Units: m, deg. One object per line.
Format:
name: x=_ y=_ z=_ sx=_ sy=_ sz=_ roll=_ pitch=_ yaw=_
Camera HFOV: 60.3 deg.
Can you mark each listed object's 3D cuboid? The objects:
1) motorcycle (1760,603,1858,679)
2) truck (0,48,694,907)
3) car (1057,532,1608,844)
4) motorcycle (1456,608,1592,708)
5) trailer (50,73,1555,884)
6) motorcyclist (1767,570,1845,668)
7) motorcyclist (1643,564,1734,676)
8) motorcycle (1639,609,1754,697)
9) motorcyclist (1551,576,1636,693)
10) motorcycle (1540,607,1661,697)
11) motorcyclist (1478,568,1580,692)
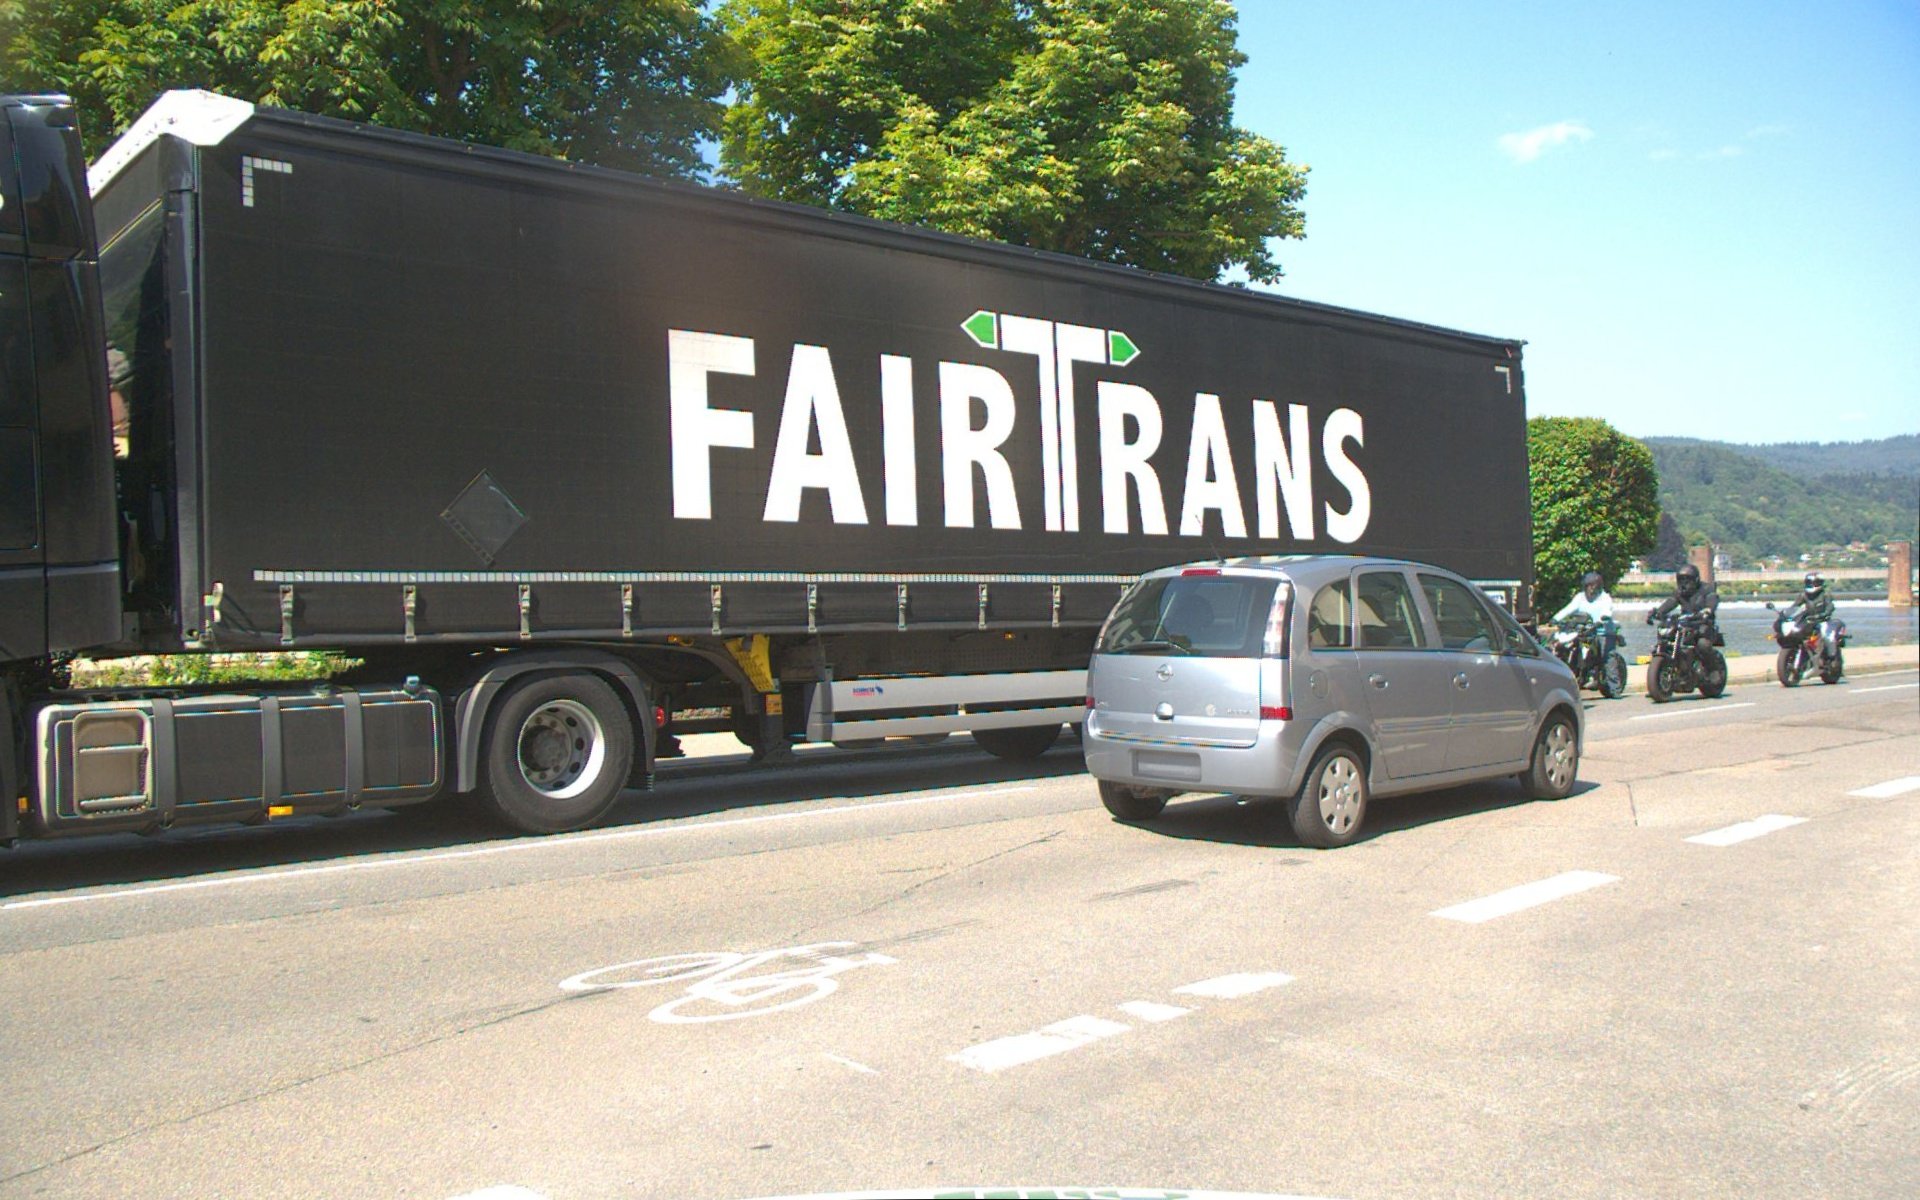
motorcycle: x=12.403 y=0.586 z=24.144 sx=1.799 sy=1.042 sz=0.649 roll=-1 pitch=-1 yaw=-42
truck: x=-4.848 y=-0.561 z=9.610 sx=5.880 sy=4.143 sz=2.797 roll=-1 pitch=-2 yaw=-41
car: x=2.491 y=0.438 z=10.575 sx=3.709 sy=1.639 sz=1.666 roll=-1 pitch=1 yaw=-43
motorcycle: x=6.981 y=0.703 z=20.411 sx=2.075 sy=1.143 sz=0.625 roll=-1 pitch=-2 yaw=-42
trailer: x=0.205 y=-0.677 z=14.080 sx=13.650 sy=4.176 sz=2.800 roll=-1 pitch=-2 yaw=-41
motorcyclist: x=12.308 y=0.270 z=24.070 sx=0.928 sy=1.390 sz=0.709 roll=-1 pitch=-1 yaw=-41
motorcyclist: x=9.244 y=0.250 z=20.988 sx=0.793 sy=1.390 sz=0.777 roll=0 pitch=-1 yaw=-41
motorcycle: x=9.367 y=0.652 z=21.014 sx=1.799 sy=1.042 sz=0.649 roll=-1 pitch=-1 yaw=-42
motorcyclist: x=8.588 y=0.464 z=22.429 sx=0.983 sy=1.551 sz=0.655 roll=-1 pitch=-2 yaw=-42
motorcycle: x=8.736 y=0.689 z=22.511 sx=2.075 sy=1.143 sz=0.625 roll=-1 pitch=-2 yaw=-42
motorcyclist: x=7.031 y=0.364 z=20.433 sx=0.983 sy=1.486 sz=0.769 roll=-1 pitch=-2 yaw=-41
